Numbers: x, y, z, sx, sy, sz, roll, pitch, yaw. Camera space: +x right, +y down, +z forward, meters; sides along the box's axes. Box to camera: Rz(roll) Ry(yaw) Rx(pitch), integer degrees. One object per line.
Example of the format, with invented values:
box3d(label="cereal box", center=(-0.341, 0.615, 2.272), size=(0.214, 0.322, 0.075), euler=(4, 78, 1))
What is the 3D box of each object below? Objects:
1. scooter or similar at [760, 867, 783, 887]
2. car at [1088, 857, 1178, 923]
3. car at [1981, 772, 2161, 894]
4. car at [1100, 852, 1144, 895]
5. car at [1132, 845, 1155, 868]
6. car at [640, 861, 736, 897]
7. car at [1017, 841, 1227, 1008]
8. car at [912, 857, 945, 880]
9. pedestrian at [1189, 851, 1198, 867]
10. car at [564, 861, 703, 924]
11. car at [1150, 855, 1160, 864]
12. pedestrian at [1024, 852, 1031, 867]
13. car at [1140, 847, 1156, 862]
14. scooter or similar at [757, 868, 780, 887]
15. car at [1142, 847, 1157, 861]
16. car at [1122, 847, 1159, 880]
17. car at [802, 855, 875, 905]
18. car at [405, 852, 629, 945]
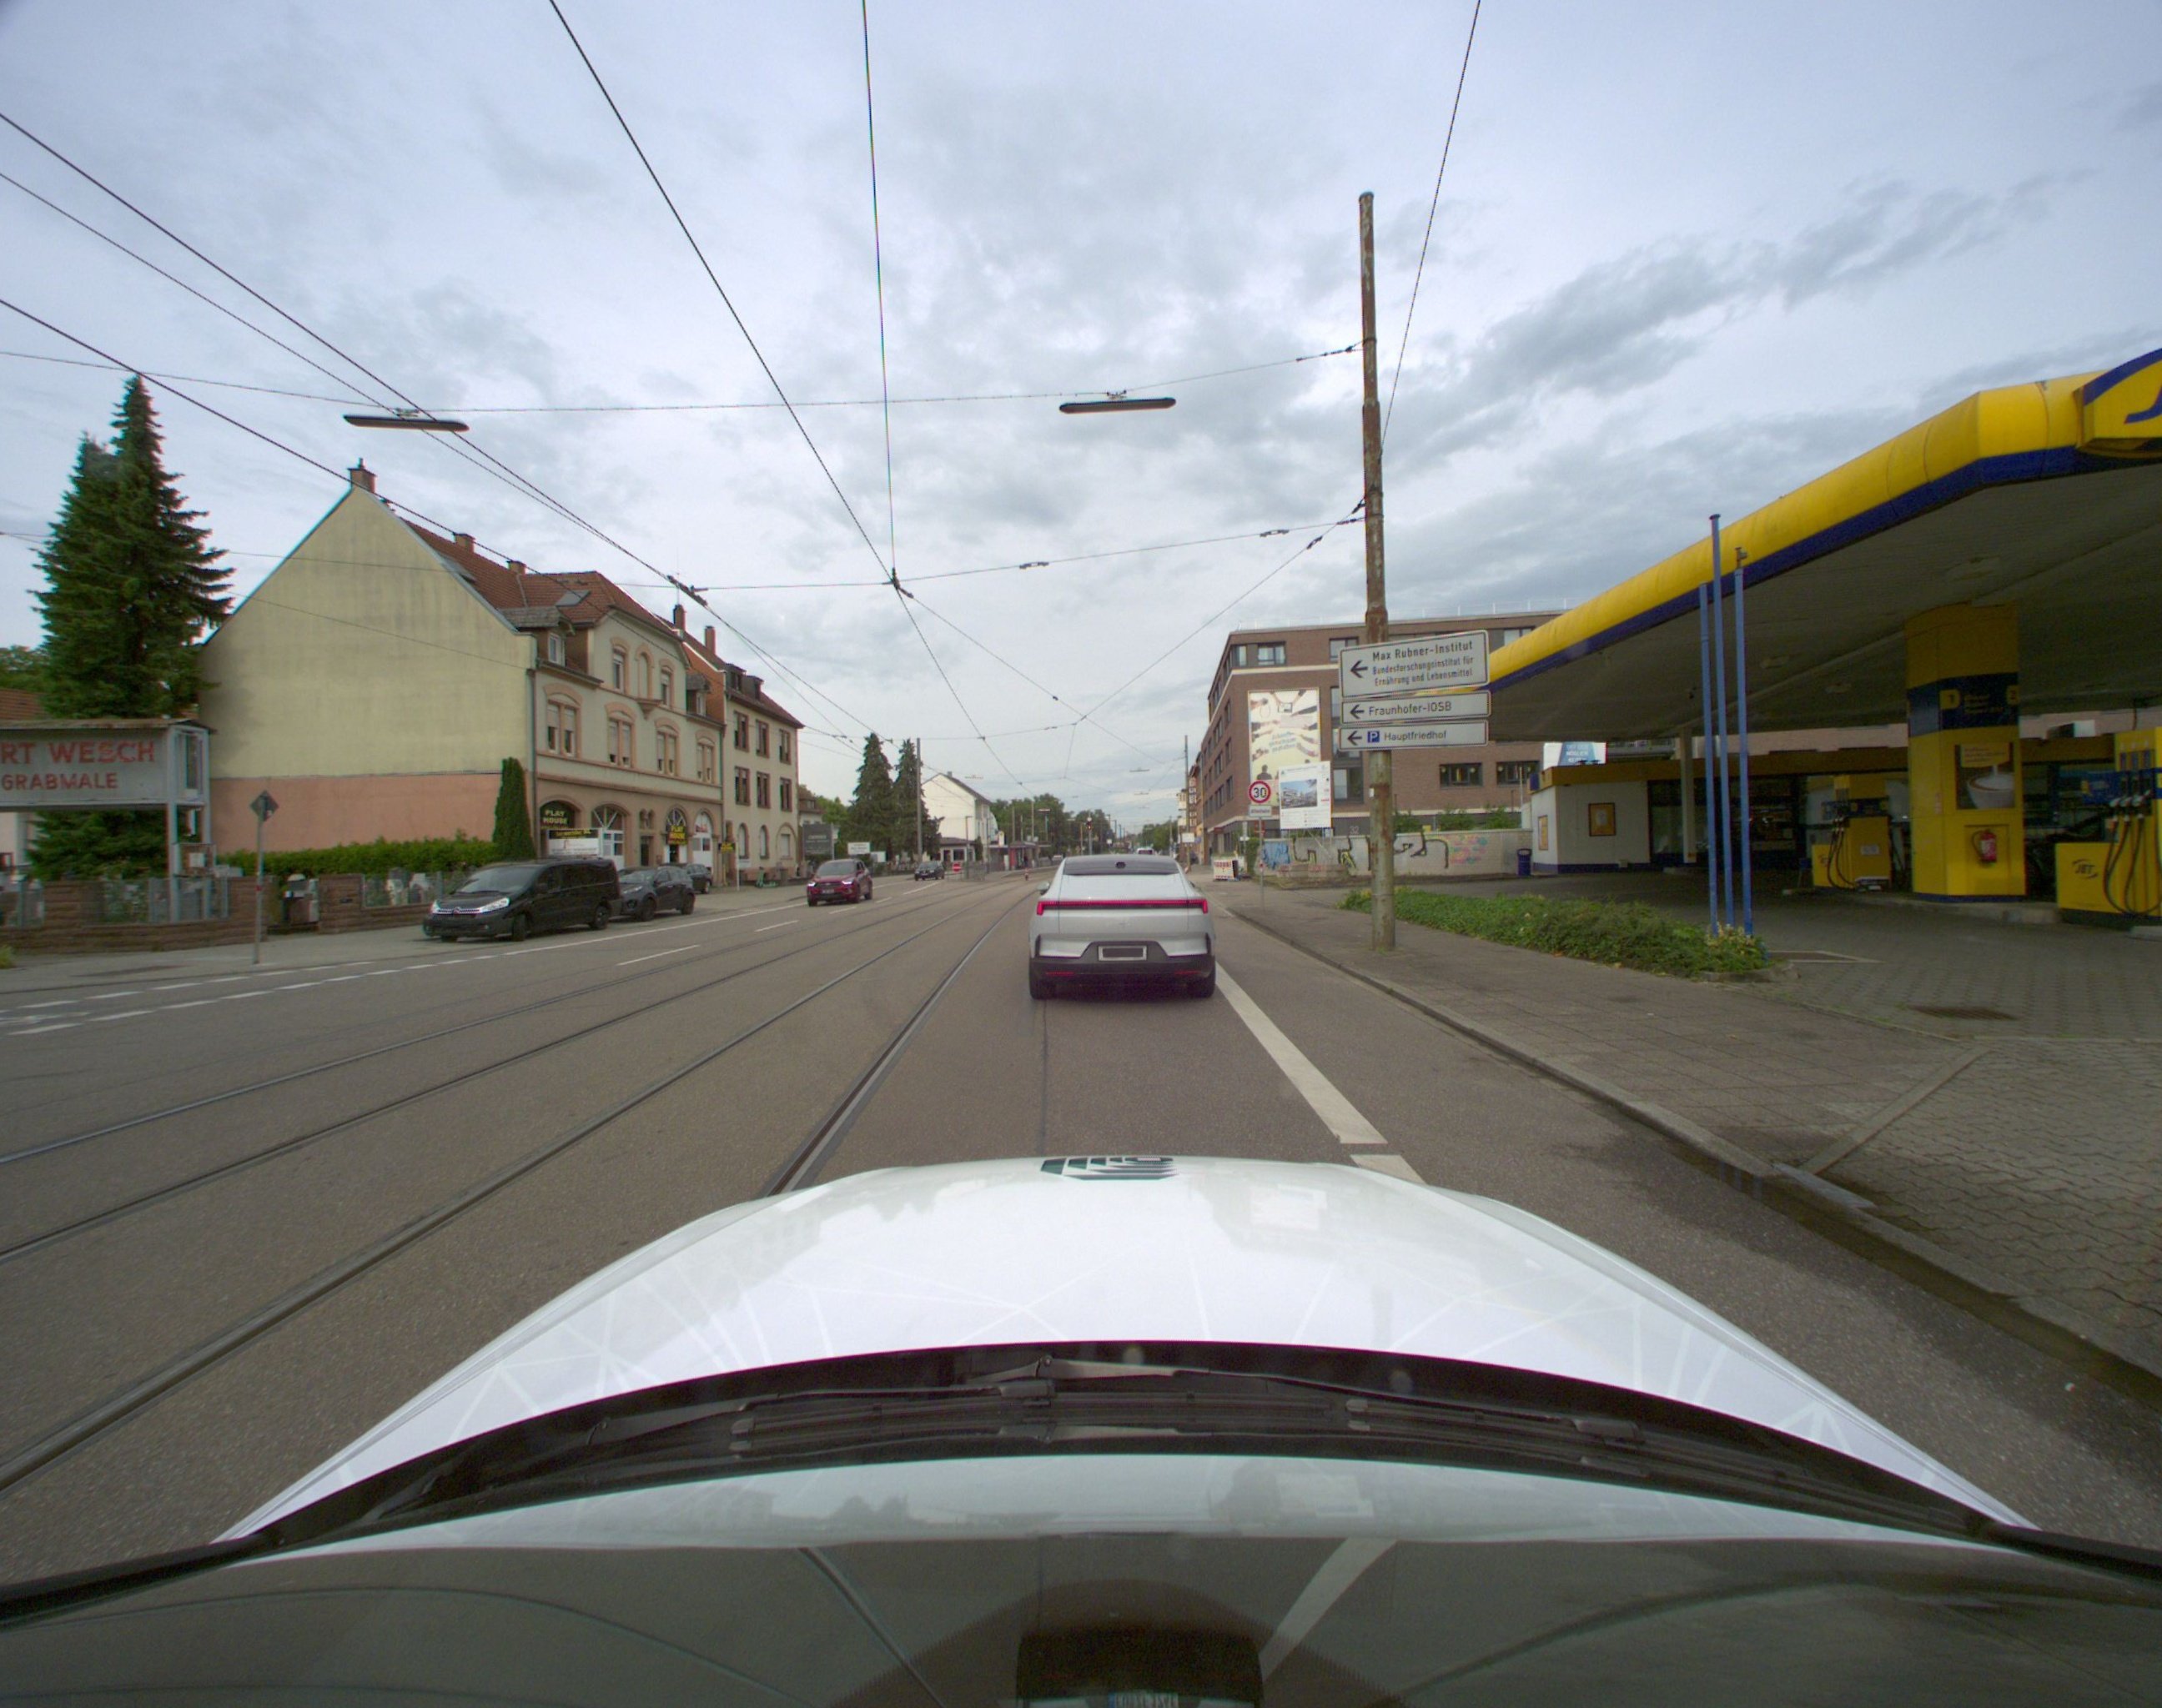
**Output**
box3d(label="scooter or similar", center=(-17.924, 1.338, 47.135), size=(1.181, 1.102, 0.523), euler=(0, -1, -29))
box3d(label="car", center=(1.314, 0.822, 20.398), size=(1.985, 1.420, 4.004), euler=(-2, 0, 4))
box3d(label="car", center=(19.232, -0.373, 14.907), size=(1.803, 1.988, 4.275), euler=(-3, -1, 19))
box3d(label="car", center=(1.761, 0.783, 34.054), size=(1.673, 1.687, 3.829), euler=(-1, -1, 5))
box3d(label="car", center=(6.716, 0.290, 88.086), size=(2.217, 2.402, 5.125), euler=(-1, -1, 2))
box3d(label="car", center=(-17.941, 1.112, 37.437), size=(1.987, 1.493, 4.902), euler=(-1, 0, 0))
box3d(label="car", center=(0.420, 0.694, 9.772), size=(1.992, 1.581, 4.000), euler=(0, -1, 1))
box3d(label="car", center=(-11.461, 1.078, 61.341), size=(1.786, 1.530, 4.137), euler=(-3, 0, -3))
box3d(label="pedestrian", center=(13.651, 0.637, 98.862), size=(0.954, 1.850, 0.978), euler=(-4, 0, 11))
box3d(label="car", center=(-14.134, 1.145, 26.059), size=(2.032, 1.749, 4.531), euler=(0, 0, -2))
box3d(label="car", center=(16.864, 1.285, 185.121), size=(1.986, 2.014, 4.001), euler=(-1, -1, 2))
box3d(label="pedestrian", center=(-5.821, 0.604, 88.067), size=(0.612, 1.664, 0.699), euler=(-1, -1, 8))
box3d(label="car", center=(9.100, 0.098, 110.411), size=(1.986, 2.014, 4.002), euler=(-1, -1, 2))
box3d(label="scooter or similar", center=(-17.754, 1.330, 46.314), size=(1.181, 1.102, 0.523), euler=(0, -1, -29))
box3d(label="car", center=(10.114, 0.016, 120.272), size=(1.986, 2.014, 4.002), euler=(-1, -1, 2))
box3d(label="car", center=(3.496, 0.555, 48.827), size=(1.986, 1.816, 4.002), euler=(-2, 0, 2))
box3d(label="car", center=(-9.290, 0.954, 31.542), size=(1.839, 1.724, 4.399), euler=(-2, 0, -5))
box3d(label="car", center=(-13.709, 0.983, 20.313), size=(1.981, 2.014, 5.183), euler=(0, -1, -1))
